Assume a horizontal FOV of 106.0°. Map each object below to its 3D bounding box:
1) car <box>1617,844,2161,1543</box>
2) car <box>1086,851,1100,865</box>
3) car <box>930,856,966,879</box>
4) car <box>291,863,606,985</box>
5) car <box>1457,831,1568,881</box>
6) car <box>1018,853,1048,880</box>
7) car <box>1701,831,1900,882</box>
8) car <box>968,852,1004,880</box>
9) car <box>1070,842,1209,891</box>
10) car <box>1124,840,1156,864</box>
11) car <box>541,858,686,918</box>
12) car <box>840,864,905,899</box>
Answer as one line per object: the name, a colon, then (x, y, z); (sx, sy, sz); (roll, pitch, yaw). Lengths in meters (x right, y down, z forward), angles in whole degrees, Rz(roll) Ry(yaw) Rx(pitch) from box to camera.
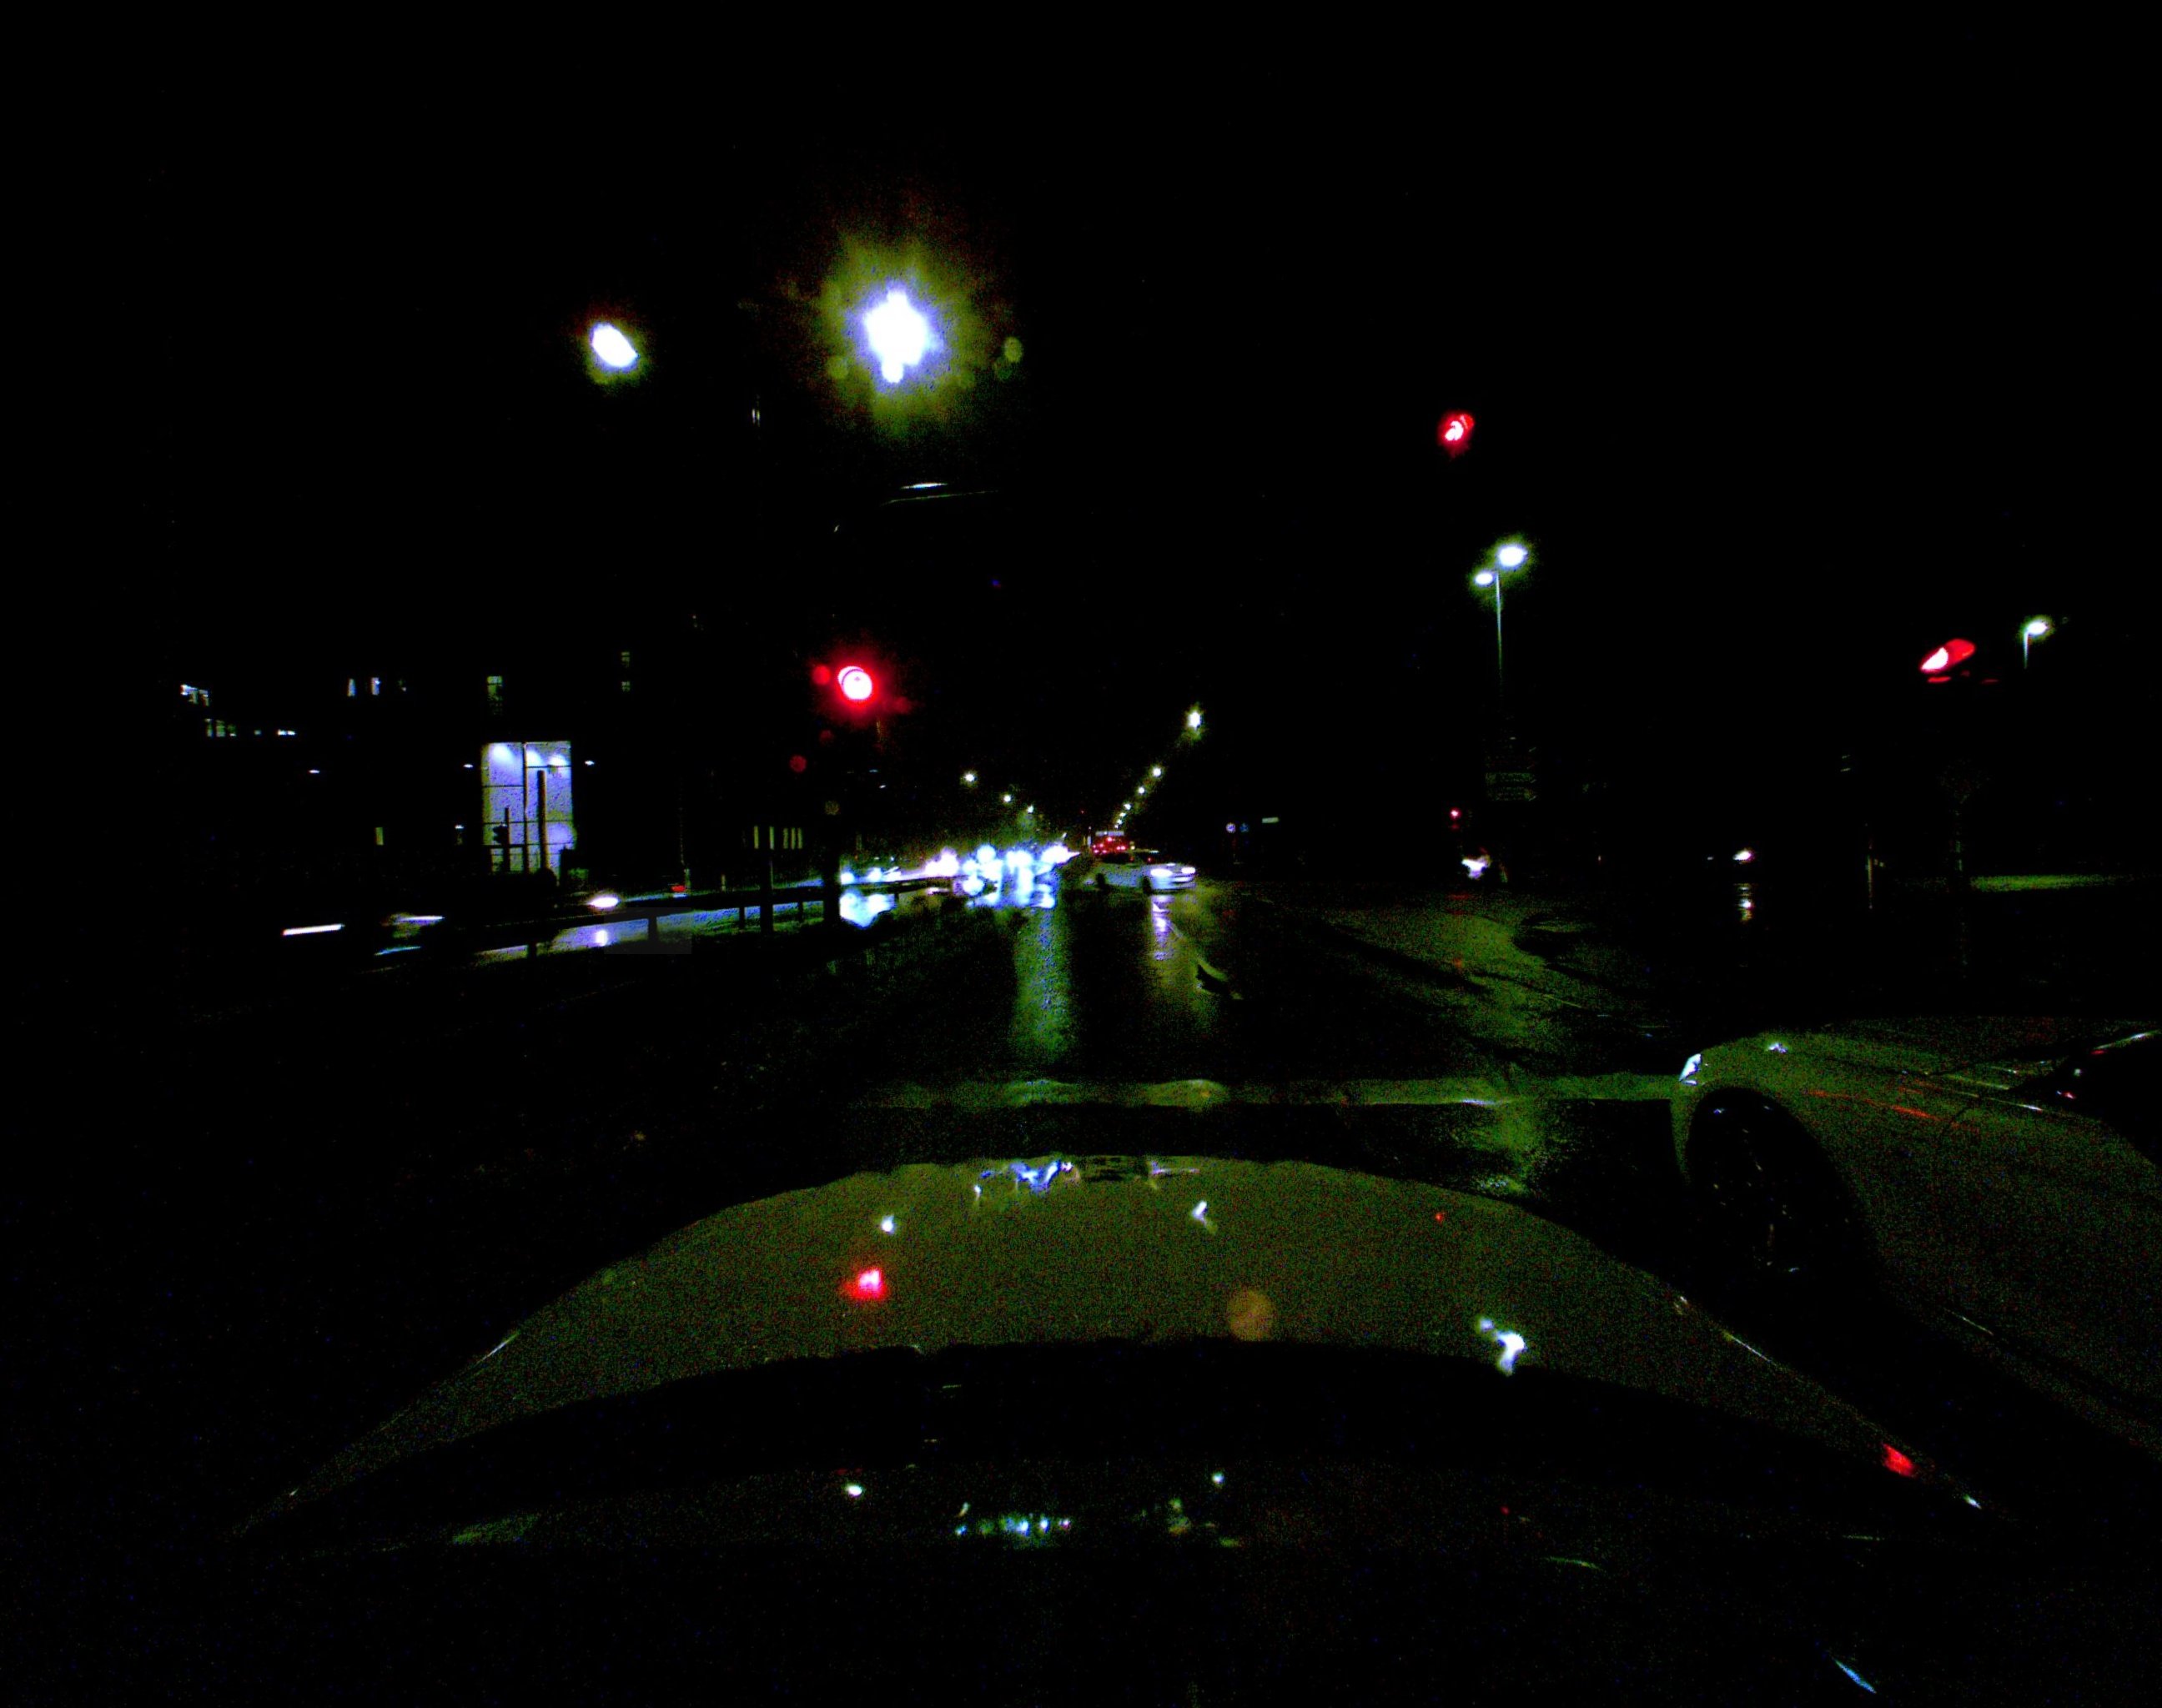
car: (3.137, 0.712, 1.258); (1.714, 1.446, 4.383); (-3, -1, 1)
car: (1.854, 0.664, 120.974); (1.986, 2.014, 4.001); (-1, -1, 2)
car: (-9.763, 0.955, 60.168); (1.764, 1.569, 4.333); (-2, -1, 2)
car: (-10.685, 1.064, 14.308); (1.742, 1.709, 4.503); (-3, -1, 4)
car: (16.727, 0.099, 31.711); (3.400, 1.838, 1.690); (-1, -1, 6)
car: (-3.845, 0.989, 66.211); (1.986, 2.014, 4.001); (-2, 0, 2)
car: (24.293, 0.093, 27.678); (4.823, 1.590, 1.857); (-1, -1, 8)
car: (-6.545, 0.792, 56.316); (1.776, 1.816, 4.002); (-2, -1, 2)
car: (1.980, 0.456, 29.006); (2.011, 1.610, 4.910); (0, -1, -42)
car: (4.447, -0.127, 61.695); (1.898, 1.780, 3.996); (-1, -1, -3)
car: (-13.487, 0.926, 23.792); (1.794, 1.564, 4.001); (-1, -1, 2)
car: (-10.098, 1.301, 39.810); (1.878, 1.552, 4.435); (-1, -1, 2)
